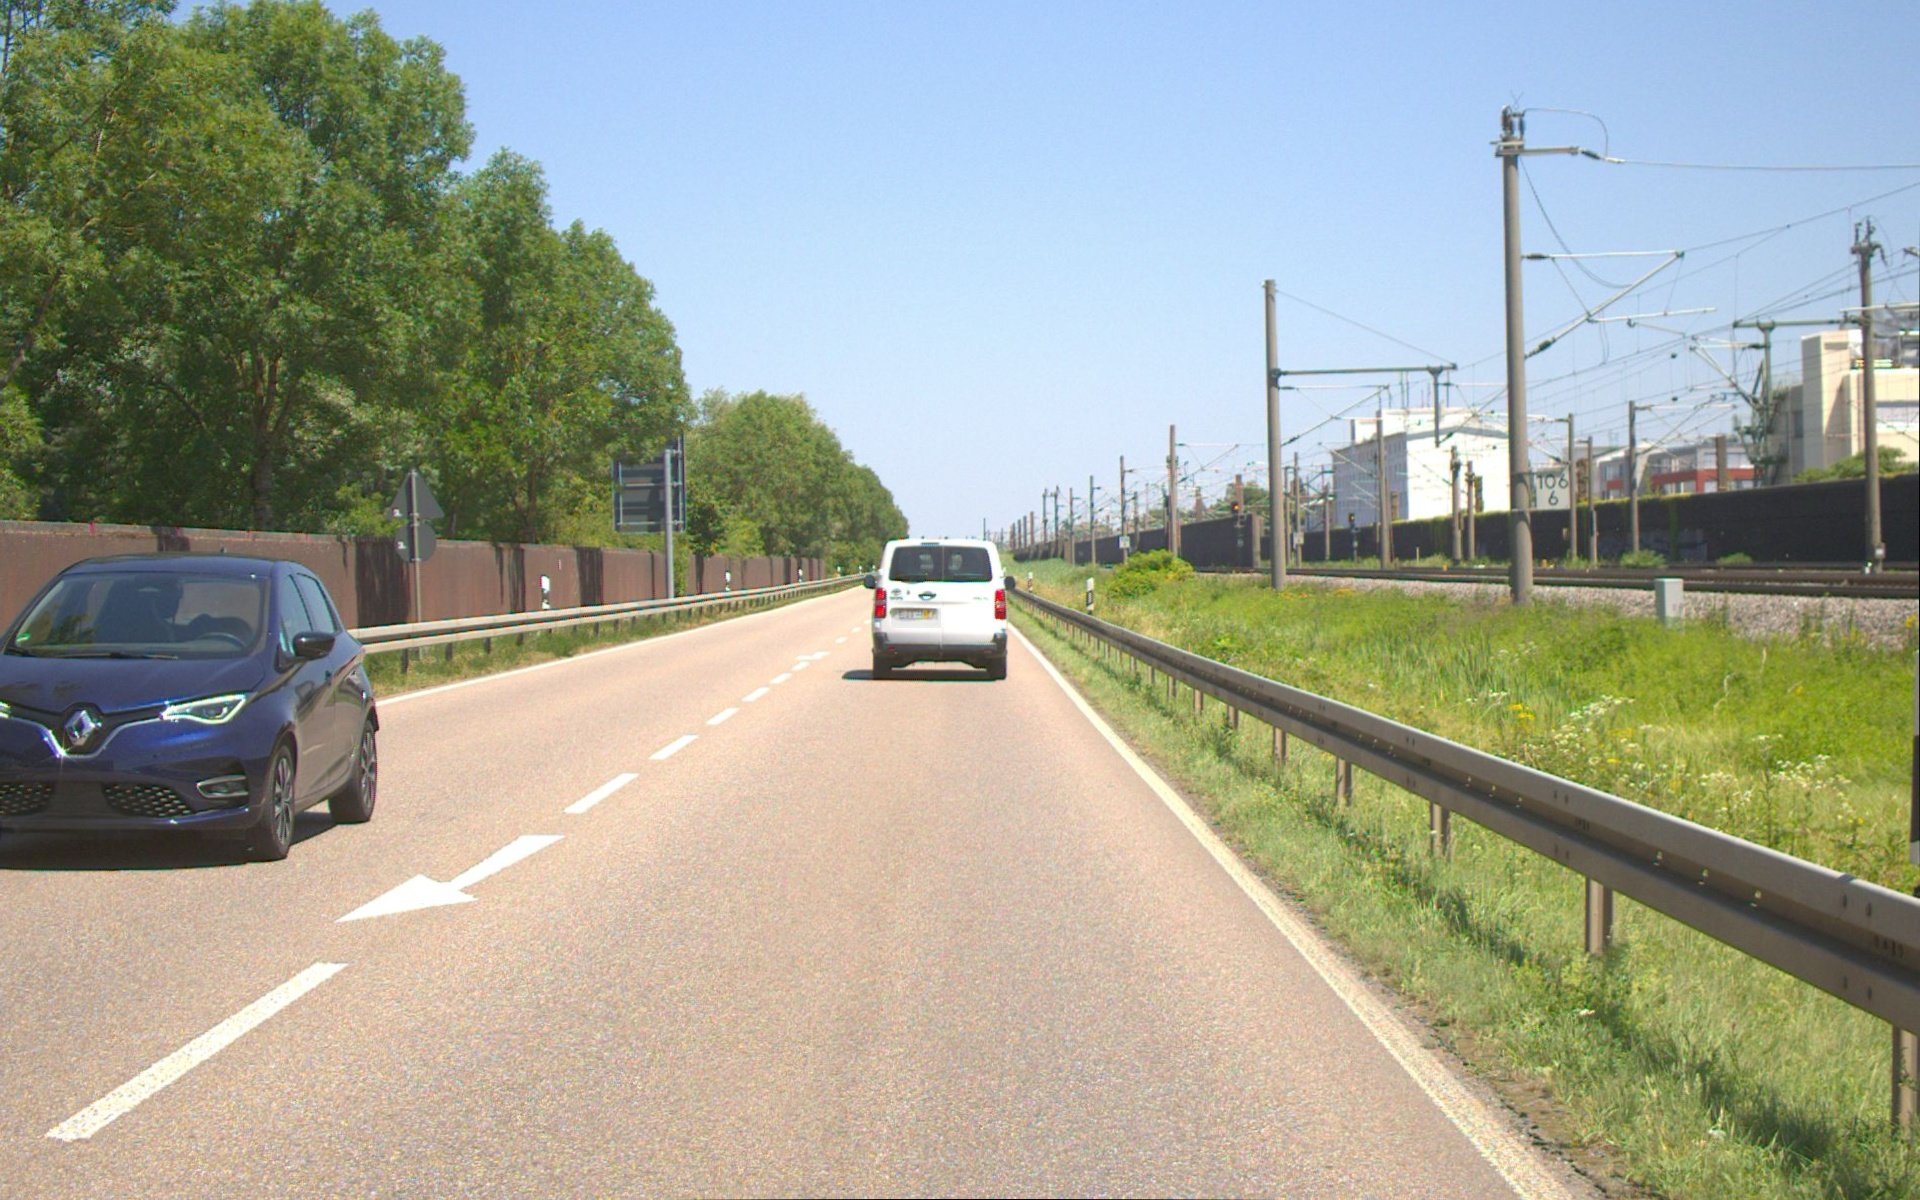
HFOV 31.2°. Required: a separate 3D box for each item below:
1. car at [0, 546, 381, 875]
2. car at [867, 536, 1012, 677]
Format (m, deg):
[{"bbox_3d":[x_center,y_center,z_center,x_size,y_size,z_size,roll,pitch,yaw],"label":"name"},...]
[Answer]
[{"bbox_3d":[-4.259,0.507,18.532,1.622,1.572,3.763,0,1,0],"label":"car"},{"bbox_3d":[-0.279,0.070,48.432,1.946,1.875,4.881,0,0,0],"label":"car"}]
